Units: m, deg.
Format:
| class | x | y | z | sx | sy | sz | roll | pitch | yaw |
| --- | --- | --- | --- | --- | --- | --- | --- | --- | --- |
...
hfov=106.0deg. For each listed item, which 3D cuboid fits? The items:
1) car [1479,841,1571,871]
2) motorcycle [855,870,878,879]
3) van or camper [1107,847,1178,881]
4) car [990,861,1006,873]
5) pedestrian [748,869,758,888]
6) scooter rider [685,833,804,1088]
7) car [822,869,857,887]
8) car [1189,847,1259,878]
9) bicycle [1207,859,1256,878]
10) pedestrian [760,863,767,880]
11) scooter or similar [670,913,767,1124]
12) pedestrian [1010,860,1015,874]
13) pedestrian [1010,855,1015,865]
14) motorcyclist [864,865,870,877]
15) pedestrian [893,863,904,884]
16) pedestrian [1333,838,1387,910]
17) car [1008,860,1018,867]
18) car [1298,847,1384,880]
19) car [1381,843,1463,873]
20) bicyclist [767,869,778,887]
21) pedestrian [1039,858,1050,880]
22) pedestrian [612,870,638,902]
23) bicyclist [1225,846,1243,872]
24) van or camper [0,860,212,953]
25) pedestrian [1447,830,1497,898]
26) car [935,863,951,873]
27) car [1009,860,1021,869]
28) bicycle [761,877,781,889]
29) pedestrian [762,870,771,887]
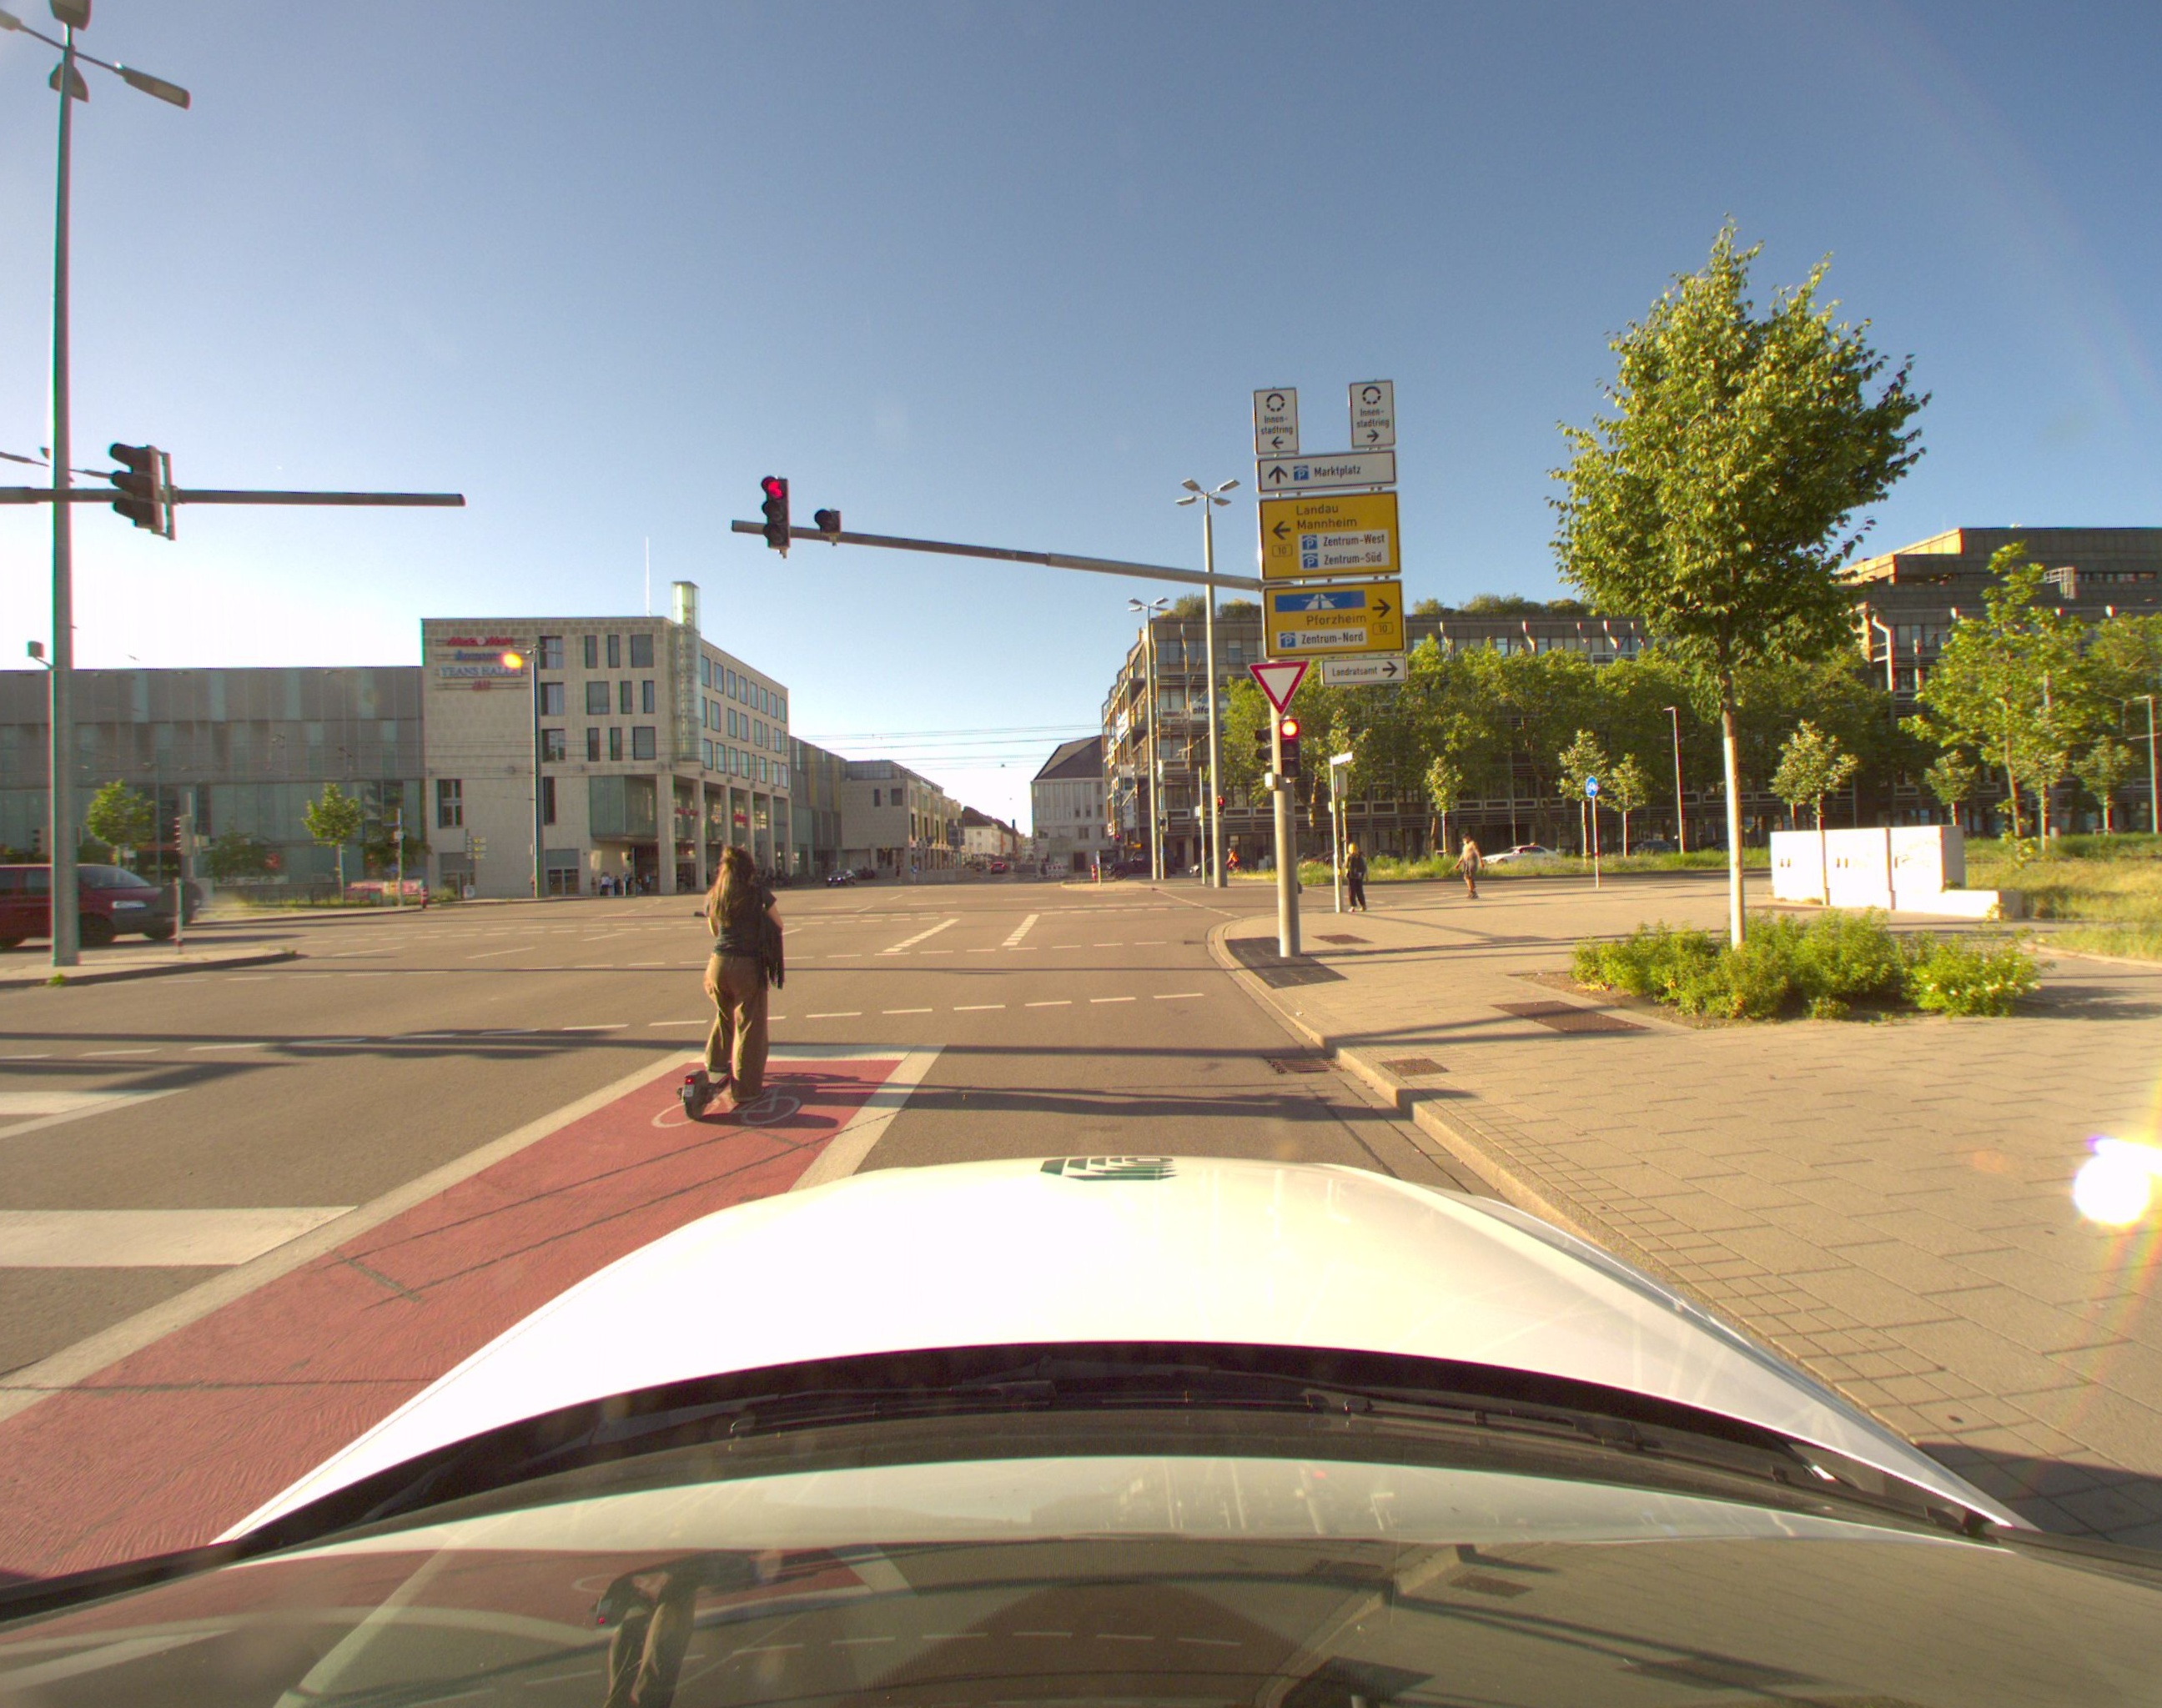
| class | x | y | z | sx | sy | sz | roll | pitch | yaw |
| --- | --- | --- | --- | --- | --- | --- | --- | --- | --- |
| car | 28.068 | 0.125 | 51.580 | 4.831 | 1.684 | 1.824 | -2 | 0 | -2 |
| motorcycle | -26.008 | 2.492 | 98.931 | 2.600 | 0.993 | 1.113 | 0 | -1 | -8 |
| van or camper | 3.996 | 0.653 | 53.341 | 4.404 | 2.013 | 1.993 | -2 | 0 | -3 |
| car | -11.010 | 1.751 | 108.520 | 1.652 | 1.458 | 3.543 | -2 | 0 | 2 |
| pedestrian | -29.663 | 2.186 | 73.626 | 0.590 | 1.646 | 0.629 | -2 | 0 | 1 |
| scooter rider | -2.129 | 0.645 | 5.197 | 0.552 | 1.530 | 0.448 | -2 | 0 | -7 |
| car | -20.849 | 2.057 | 70.428 | 1.670 | 1.357 | 4.021 | -2 | 0 | 1 |
| car | 8.771 | 0.516 | 50.027 | 3.973 | 1.684 | 1.761 | -2 | 0 | 0 |
| bicycle | 8.684 | 0.821 | 47.046 | 2.561 | 0.975 | 1.047 | -2 | 0 | -1 |
| pedestrian | -33.603 | 1.853 | 86.261 | 0.465 | 1.729 | 0.524 | -1 | -1 | 40 |
| scooter or similar | -2.186 | 0.945 | 4.966 | 0.306 | 1.107 | 0.835 | -2 | 0 | -9 |
| pedestrian | -8.220 | 1.557 | 97.862 | 0.490 | 1.664 | 0.529 | 0 | -1 | -12 |
| pedestrian | -13.893 | 1.192 | 165.254 | 0.907 | 1.965 | 0.823 | 0 | -1 | 1 |
| motorcyclist | -26.079 | 2.067 | 99.182 | 0.627 | 1.406 | 0.661 | 0 | -1 | -7 |
| pedestrian | -14.302 | 1.534 | 63.986 | 0.777 | 1.638 | 0.623 | -2 | 0 | -12 |
| pedestrian | 6.460 | 0.458 | 18.878 | 0.768 | 1.614 | 0.868 | -2 | 0 | -21 |
| car | -13.838 | 1.904 | 166.654 | 1.652 | 1.458 | 3.543 | -2 | 0 | 2 |
| car | 14.750 | 0.523 | 46.239 | 4.287 | 1.684 | 1.820 | -2 | 0 | -9 |
| car | 21.437 | 0.252 | 51.262 | 4.392 | 1.684 | 1.824 | -2 | 0 | -2 |
| bicyclist | -25.207 | 1.935 | 66.518 | 0.623 | 1.448 | 0.589 | -2 | 0 | 3 |
| pedestrian | -2.882 | 1.169 | 64.298 | 0.697 | 1.688 | 0.620 | -2 | 0 | 2 |
| pedestrian | -25.135 | 1.765 | 44.902 | 0.821 | 1.675 | 1.004 | -2 | 0 | -2 |
| bicyclist | 8.831 | 0.308 | 47.063 | 0.820 | 1.474 | 0.652 | -2 | 0 | -2 |
| van or camper | -24.455 | 1.227 | 19.365 | 4.830 | 2.013 | 1.999 | -2 | 0 | -12 |
| pedestrian | 10.122 | 0.260 | 21.104 | 0.869 | 1.706 | 0.768 | -2 | 0 | 0 |
| car | -20.869 | 2.119 | 122.816 | 1.652 | 1.458 | 3.543 | -2 | 0 | 2 |
| car | -11.856 | 1.837 | 146.718 | 1.652 | 1.458 | 3.543 | -2 | 0 | 2 |
| bicycle | -25.193 | 2.337 | 66.236 | 0.633 | 0.903 | 2.220 | -2 | 0 | 3 |
| pedestrian | -32.222 | 2.504 | 83.489 | 0.465 | 1.729 | 0.699 | -1 | -1 | 40 |
